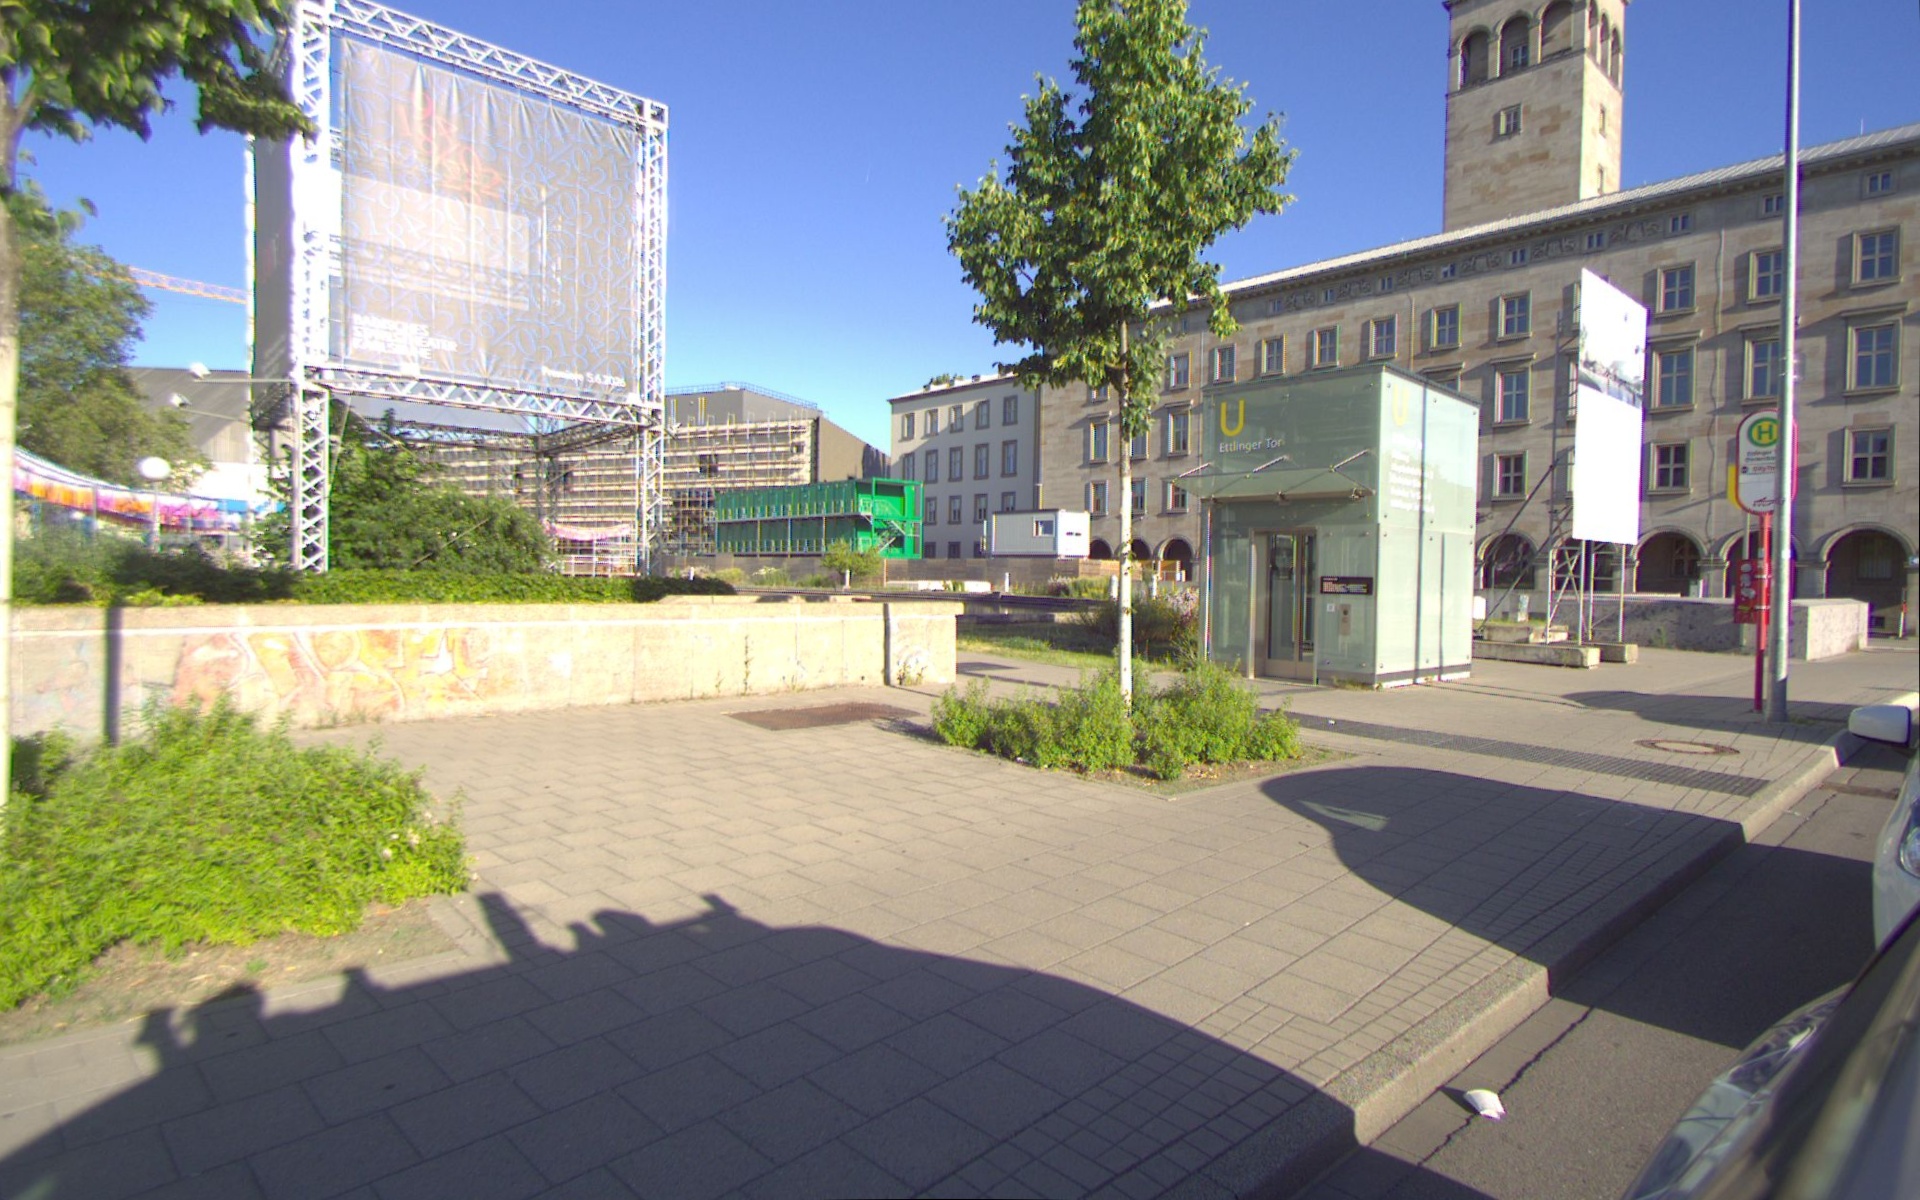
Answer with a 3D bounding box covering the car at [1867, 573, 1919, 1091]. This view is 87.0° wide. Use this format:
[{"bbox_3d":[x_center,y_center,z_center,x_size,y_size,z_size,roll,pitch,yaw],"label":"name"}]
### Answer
[{"bbox_3d":[4.642,0.677,3.666,3.930,1.473,1.518,0,2,-41],"label":"car"}]
